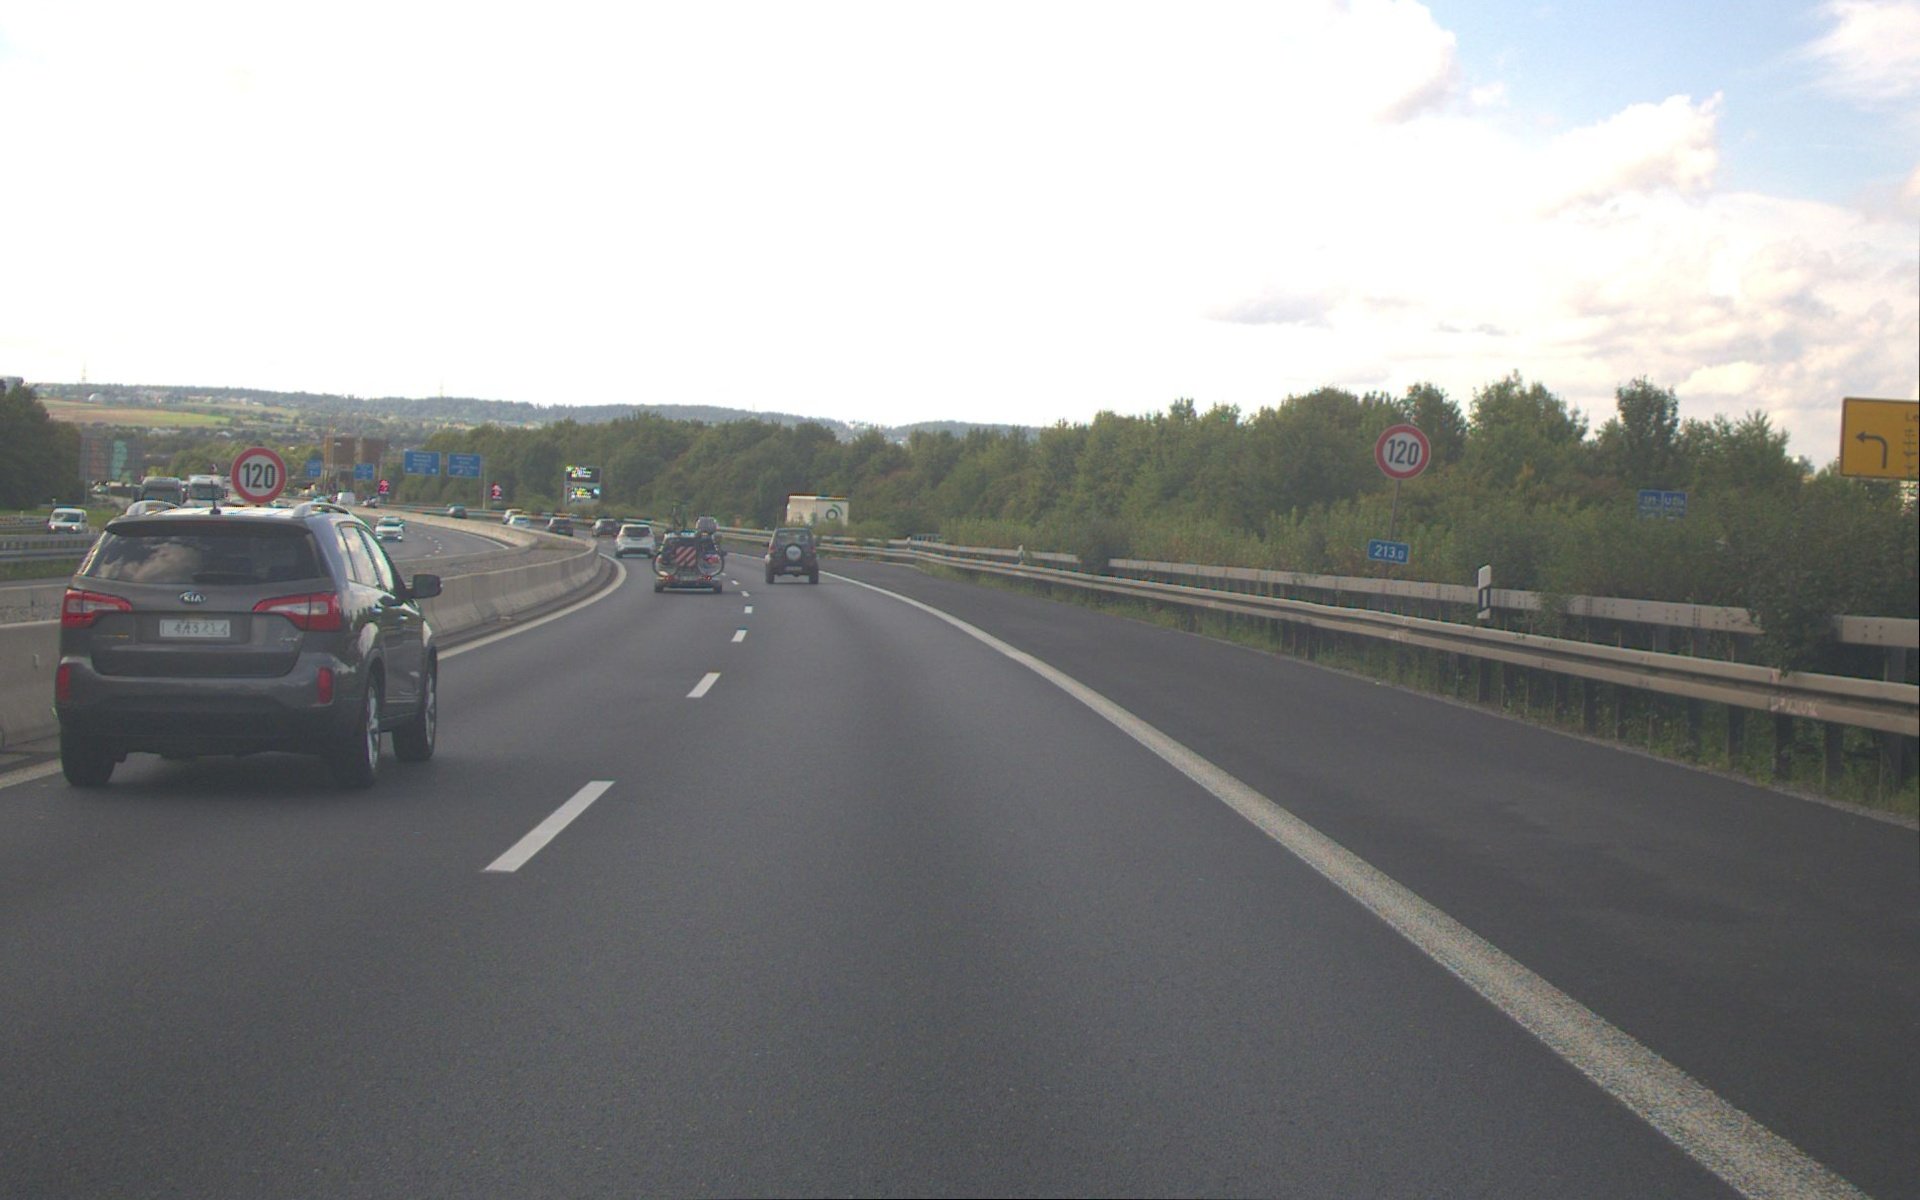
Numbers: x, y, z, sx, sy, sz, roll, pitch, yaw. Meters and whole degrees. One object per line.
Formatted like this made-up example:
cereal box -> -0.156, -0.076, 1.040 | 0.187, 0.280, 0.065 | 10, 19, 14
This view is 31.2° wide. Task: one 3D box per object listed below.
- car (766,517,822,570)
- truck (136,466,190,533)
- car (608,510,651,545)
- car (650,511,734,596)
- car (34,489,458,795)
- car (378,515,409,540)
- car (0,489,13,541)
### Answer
car -> -5.212, -1.780, 107.424 | 1.587, 1.591, 4.096 | 1, 1, -5
truck -> -46.934, -5.891, 202.541 | 2.809, 3.813, 7.131 | 1, 1, -11
car -> -16.839, -3.667, 174.835 | 1.993, 1.678, 4.001 | 1, 0, -8
car -> -7.020, -1.250, 90.370 | 2.030, 2.144, 4.001 | 1, 2, -2
car -> -4.475, 0.200, 22.314 | 1.817, 1.730, 5.187 | 1, 1, -2
car -> -38.186, -4.881, 231.853 | 1.712, 1.522, 4.767 | 1, 0, -5
car -> -38.275, -3.326, 133.665 | 1.993, 2.007, 4.001 | 1, 1, -3
